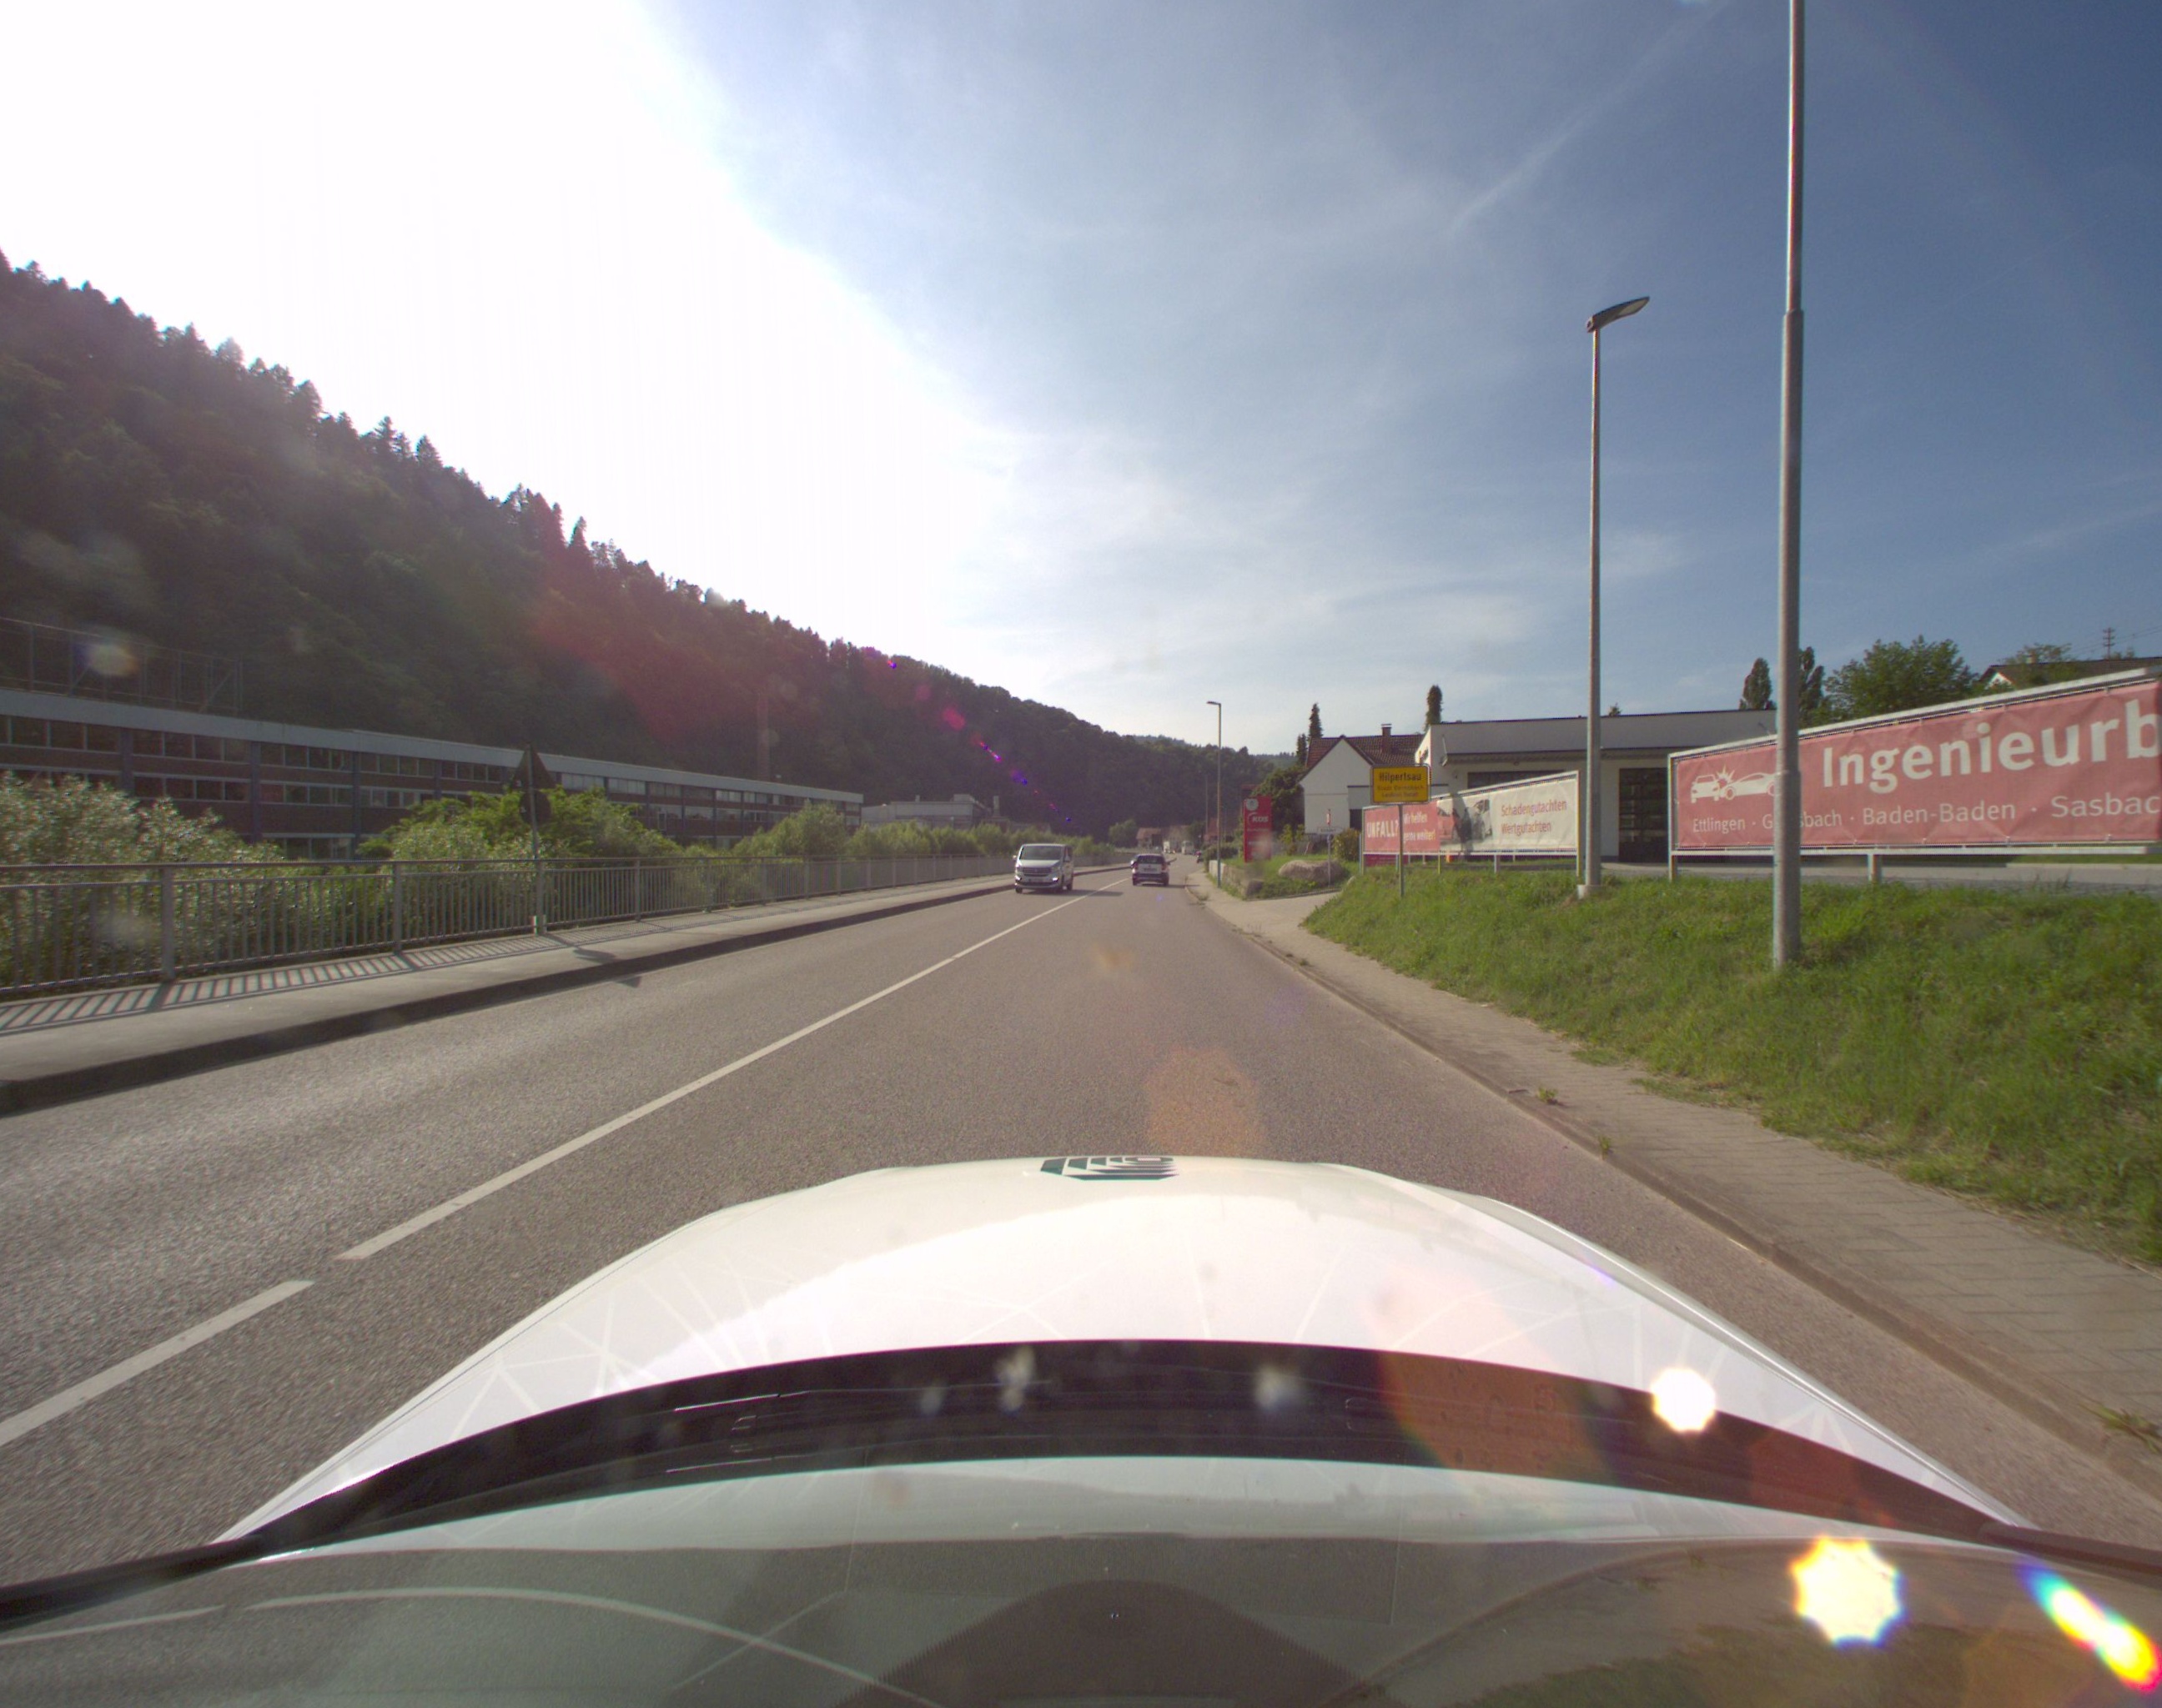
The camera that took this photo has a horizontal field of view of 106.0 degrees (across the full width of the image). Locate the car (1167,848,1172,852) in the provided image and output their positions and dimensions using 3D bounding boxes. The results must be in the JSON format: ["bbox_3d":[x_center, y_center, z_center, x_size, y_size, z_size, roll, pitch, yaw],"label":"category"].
[{"bbox_3d":[27.471,-1.281,252.513,1.426,1.383,3.140,0,2,5],"label":"car"}]

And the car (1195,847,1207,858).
[{"bbox_3d":[16.559,-0.204,112.308,1.612,1.541,3.287,0,0,10],"label":"car"}]

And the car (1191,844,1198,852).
[{"bbox_3d":[27.653,-1.435,198.110,1.663,1.752,3.459,0,2,11],"label":"car"}]

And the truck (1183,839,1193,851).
[{"bbox_3d":[29.785,-2.552,227.535,2.714,3.374,6.492,0,2,7],"label":"truck"}]

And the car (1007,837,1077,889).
[{"bbox_3d":[-1.507,0.367,33.562,1.909,1.967,5.157,-1,0,8],"label":"car"}]

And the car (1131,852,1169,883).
[{"bbox_3d":[3.669,0.657,42.473,1.851,1.544,4.381,0,0,6],"label":"car"}]

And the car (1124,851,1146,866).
[{"bbox_3d":[5.276,0.442,79.210,1.804,1.484,4.807,0,0,7],"label":"car"}]
